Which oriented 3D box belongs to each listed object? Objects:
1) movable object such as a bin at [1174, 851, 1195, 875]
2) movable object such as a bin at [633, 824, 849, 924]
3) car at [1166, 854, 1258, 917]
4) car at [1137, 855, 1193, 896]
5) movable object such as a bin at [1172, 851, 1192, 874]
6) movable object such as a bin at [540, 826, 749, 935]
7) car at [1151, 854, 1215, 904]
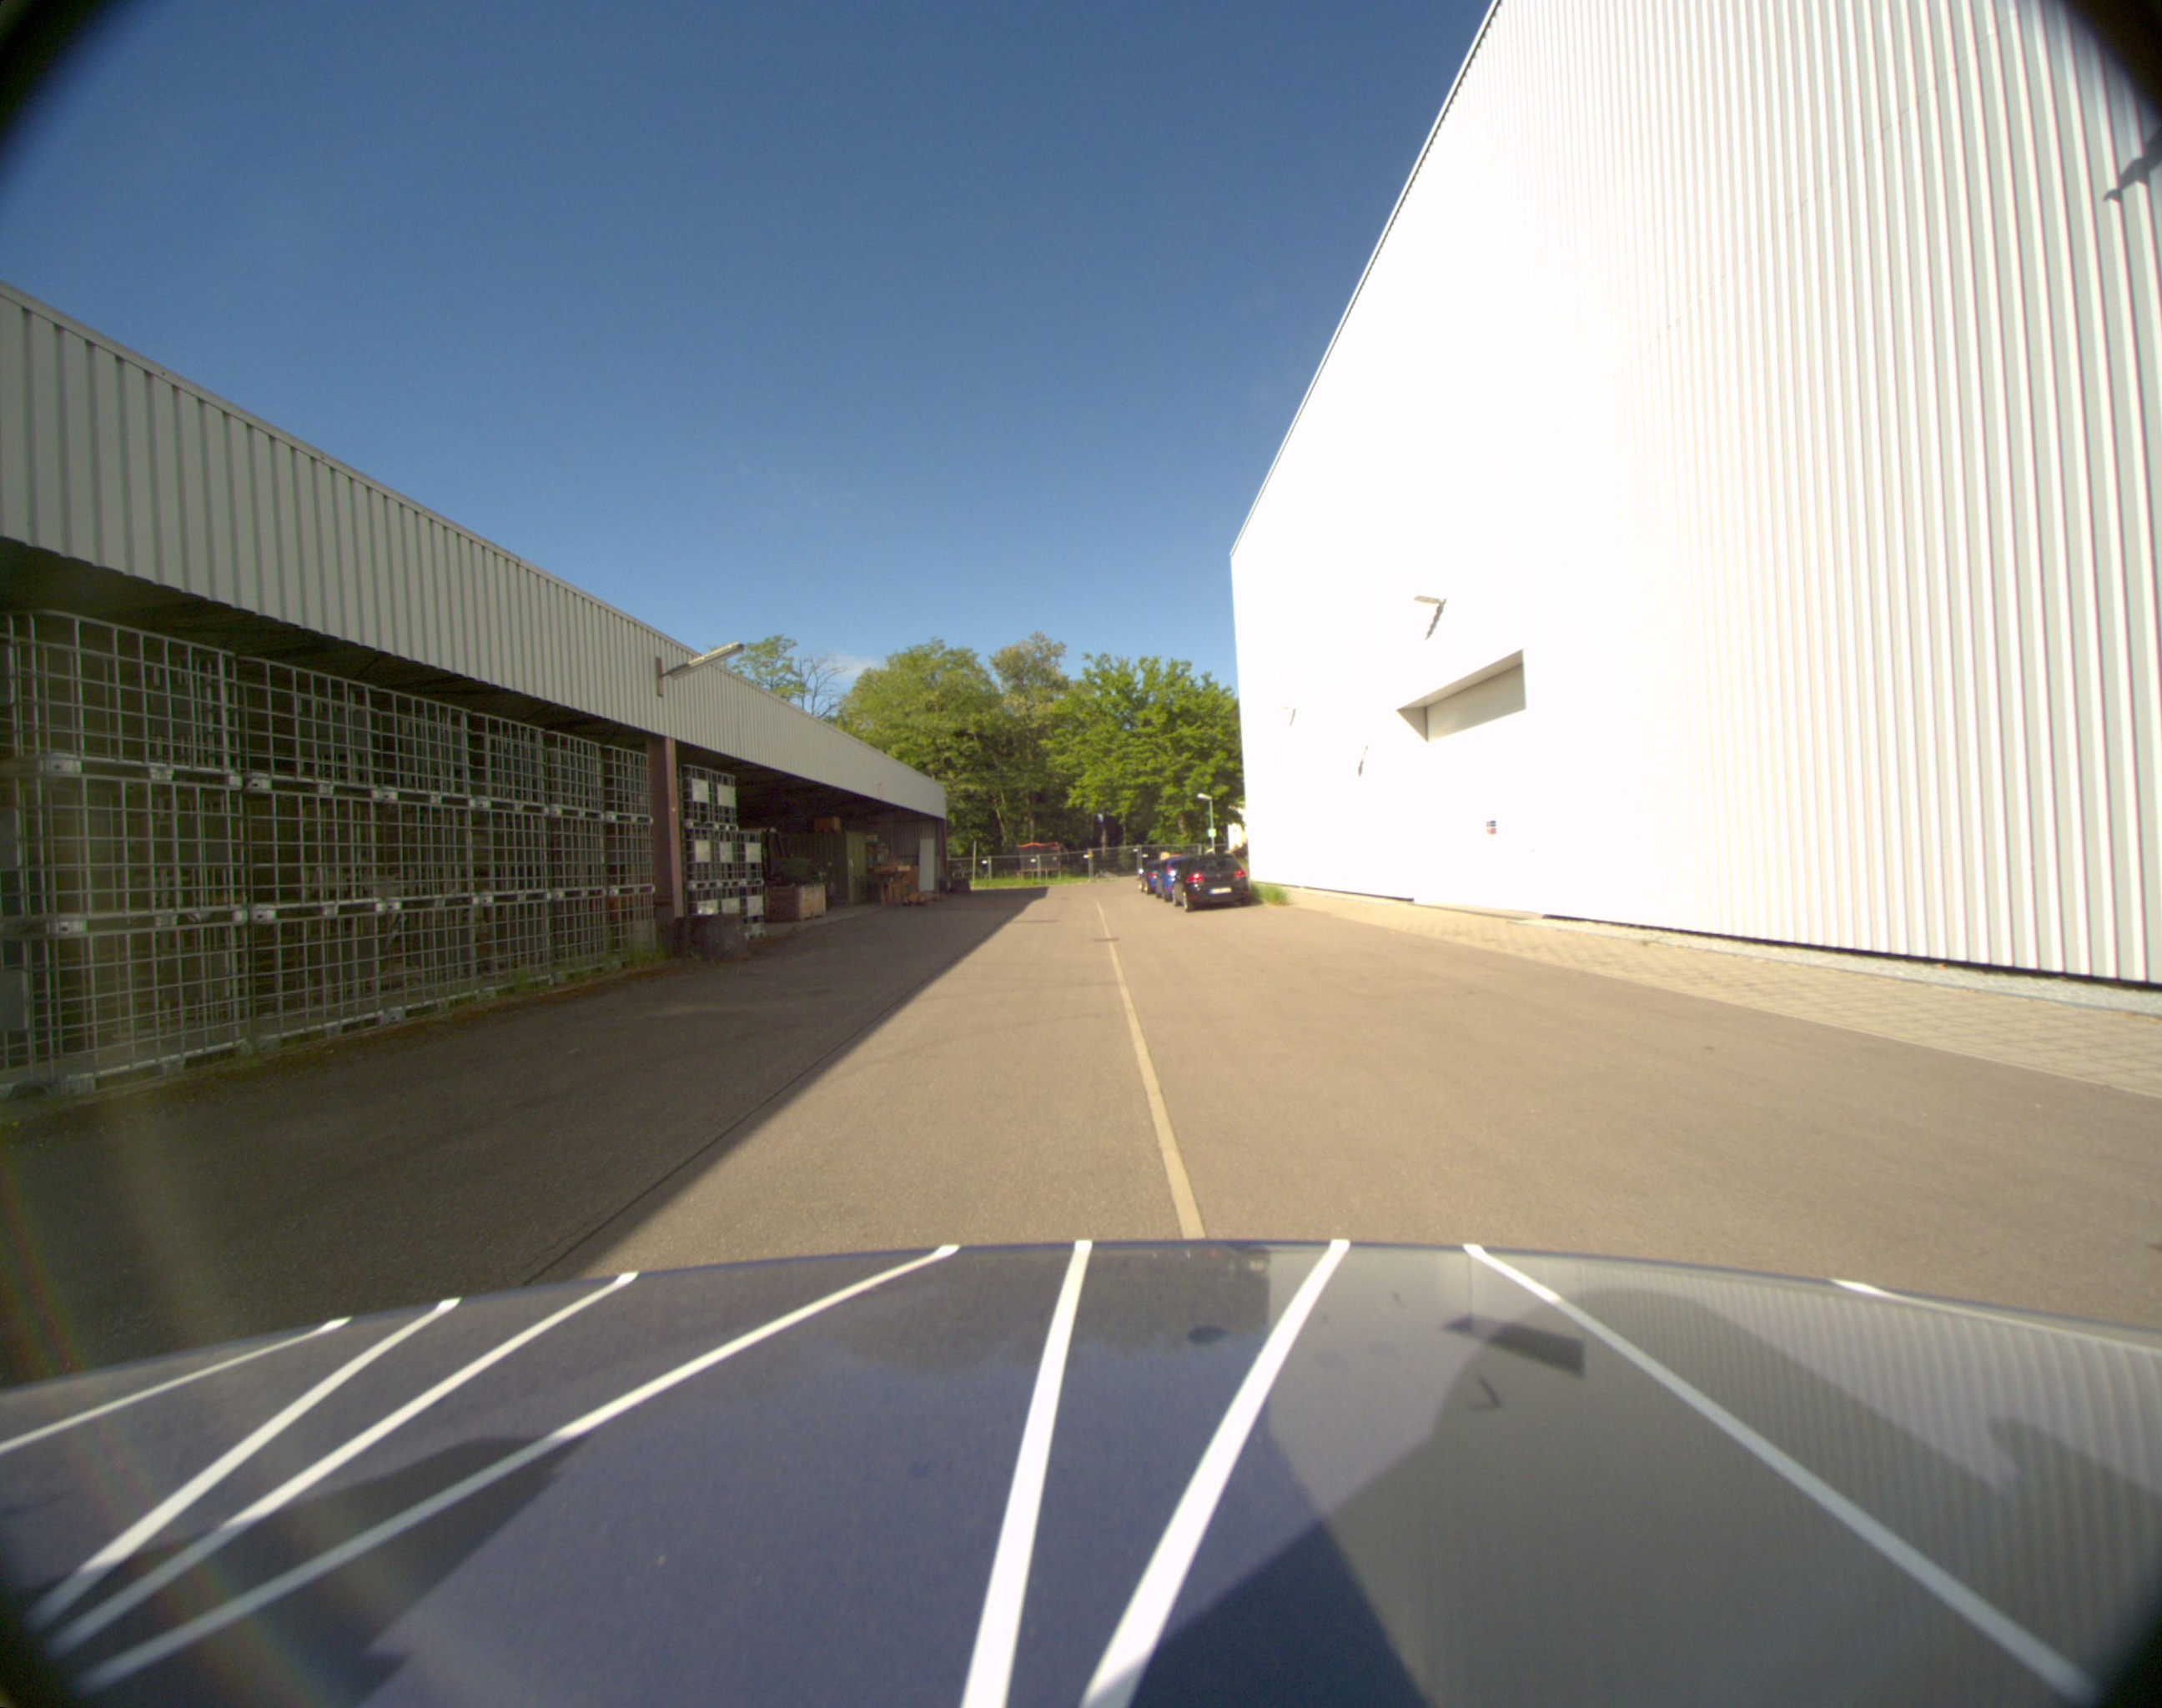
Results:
[{"bbox_3d":[6.426,0.551,47.292,1.141,1.426,1.289,-2,0,1],"label":"movable object such as a bin"},{"bbox_3d":[-11.177,0.642,25.413,5.848,2.908,2.820,-2,0,1],"label":"movable object such as a bin"},{"bbox_3d":[3.537,0.812,21.306,1.760,1.437,4.315,-6,-1,1],"label":"car"},{"bbox_3d":[3.423,0.866,31.563,1.716,1.440,3.798,-5,-1,-1],"label":"car"},{"bbox_3d":[6.454,0.559,48.656,1.141,1.469,1.280,-2,-1,1],"label":"movable object such as a bin"},{"bbox_3d":[-12.550,0.732,22.149,4.537,2.814,2.497,-2,0,1],"label":"movable object such as a bin"},{"bbox_3d":[3.434,0.820,26.051,1.552,1.479,3.522,-5,-1,-1],"label":"car"}]
